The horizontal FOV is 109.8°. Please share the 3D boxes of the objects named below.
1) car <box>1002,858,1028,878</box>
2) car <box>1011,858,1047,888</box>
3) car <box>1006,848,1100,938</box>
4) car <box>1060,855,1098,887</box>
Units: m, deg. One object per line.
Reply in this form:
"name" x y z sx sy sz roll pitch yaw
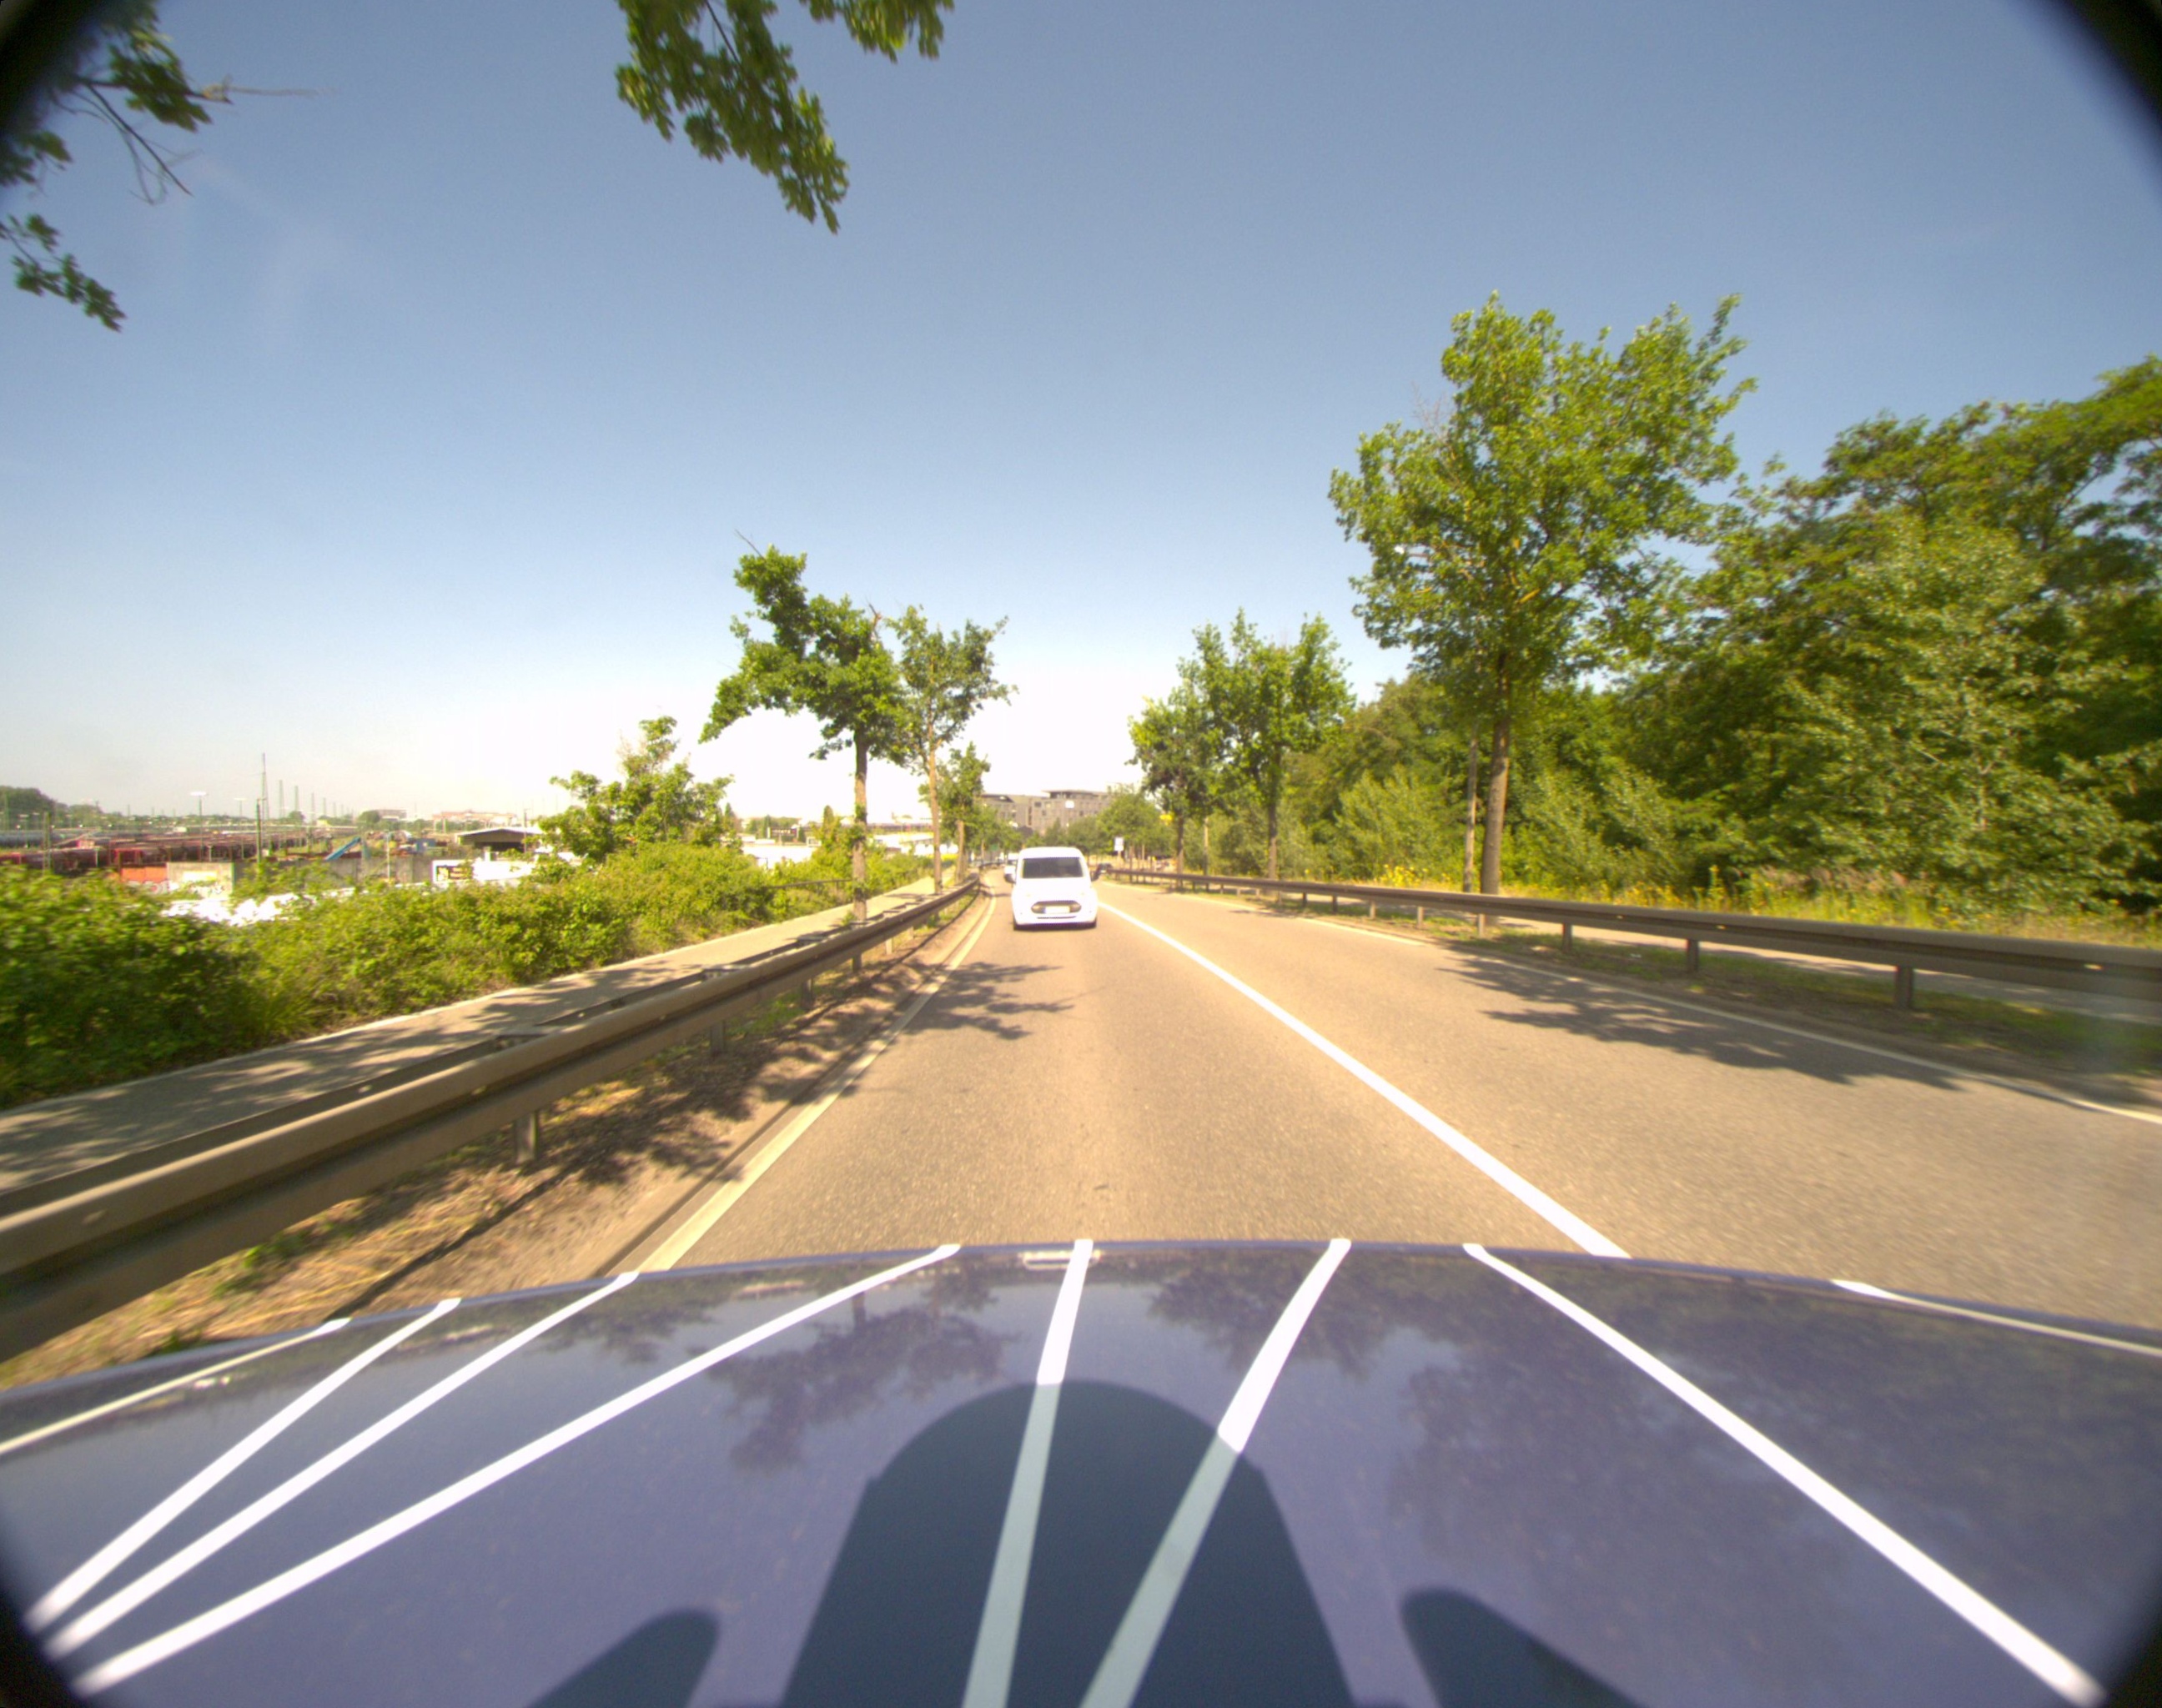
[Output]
"car" -5.350 1.101 61.308 2.000 1.576 3.998 -1 0 -6
"car" -2.852 1.002 41.527 1.847 1.479 4.150 -1 0 -5
"car" -0.698 0.789 17.788 1.898 1.785 4.446 -1 0 -3
"car" -0.161 0.993 46.664 1.999 1.783 3.998 -2 1 -5
